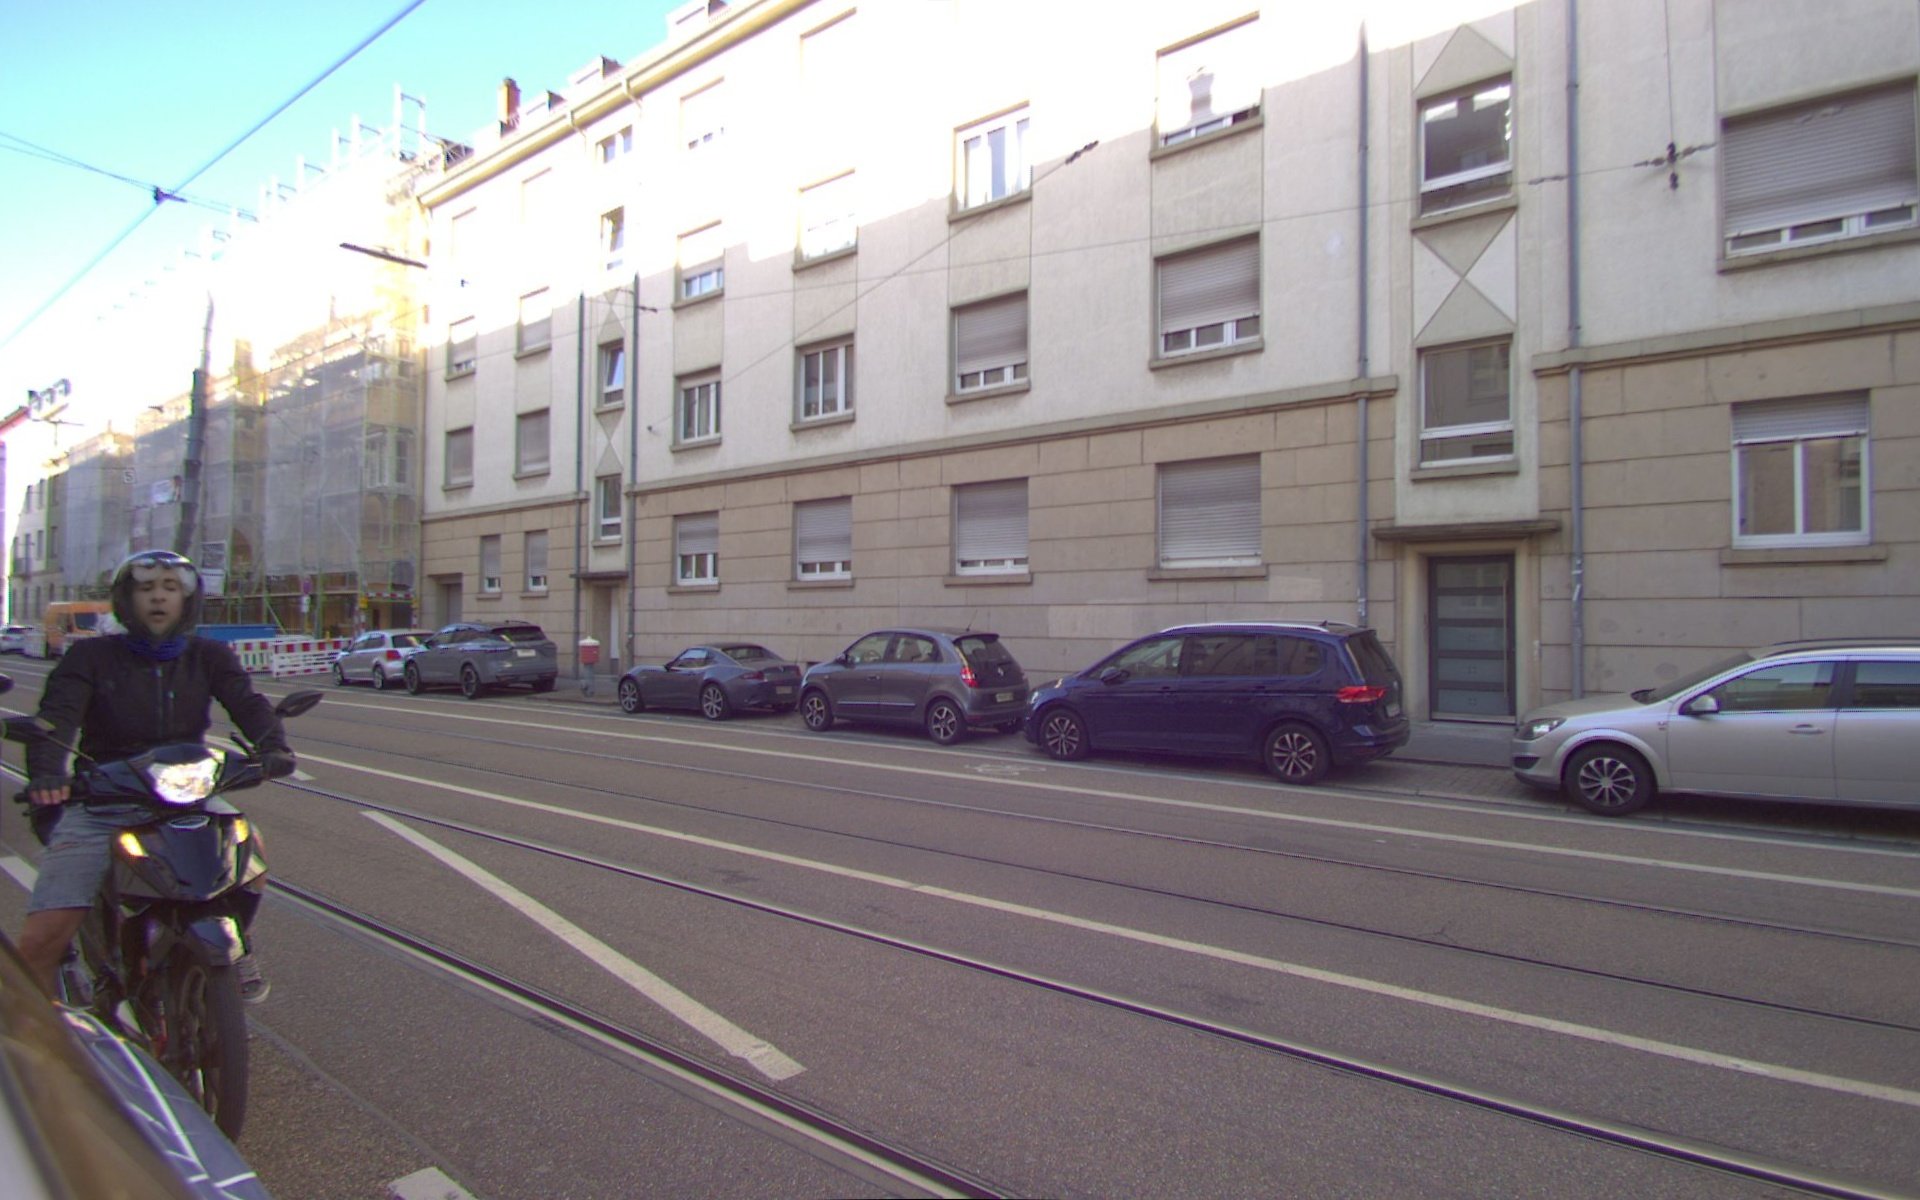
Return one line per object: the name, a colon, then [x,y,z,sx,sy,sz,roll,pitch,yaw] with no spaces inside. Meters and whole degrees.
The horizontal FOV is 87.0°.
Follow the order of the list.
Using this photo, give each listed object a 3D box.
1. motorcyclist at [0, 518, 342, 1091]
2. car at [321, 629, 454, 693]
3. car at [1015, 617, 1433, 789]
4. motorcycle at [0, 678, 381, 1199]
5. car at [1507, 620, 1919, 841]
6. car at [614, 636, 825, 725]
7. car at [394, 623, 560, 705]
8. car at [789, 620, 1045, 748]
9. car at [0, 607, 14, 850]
motorcyclist: [-2.520,0.540,3.169,0.598,1.516,0.851,-1,0,41]
car: [-14.461,1.483,25.501,3.639,1.402,1.617,-1,0,37]
car: [2.944,1.019,11.699,4.285,1.597,1.887,-1,0,37]
motorcycle: [-2.416,0.908,3.065,1.980,1.228,0.532,-1,0,41]
car: [7.230,0.983,8.536,4.358,1.571,1.975,-1,0,38]
car: [-4.207,1.315,17.553,3.483,1.286,1.730,-1,0,37]
car: [-10.844,1.351,22.607,4.108,1.603,1.691,-1,0,38]
car: [-0.677,1.107,14.684,3.493,1.584,1.650,-1,0,38]
car: [-8.025,0.817,7.015,3.997,1.515,1.670,-1,-3,40]
